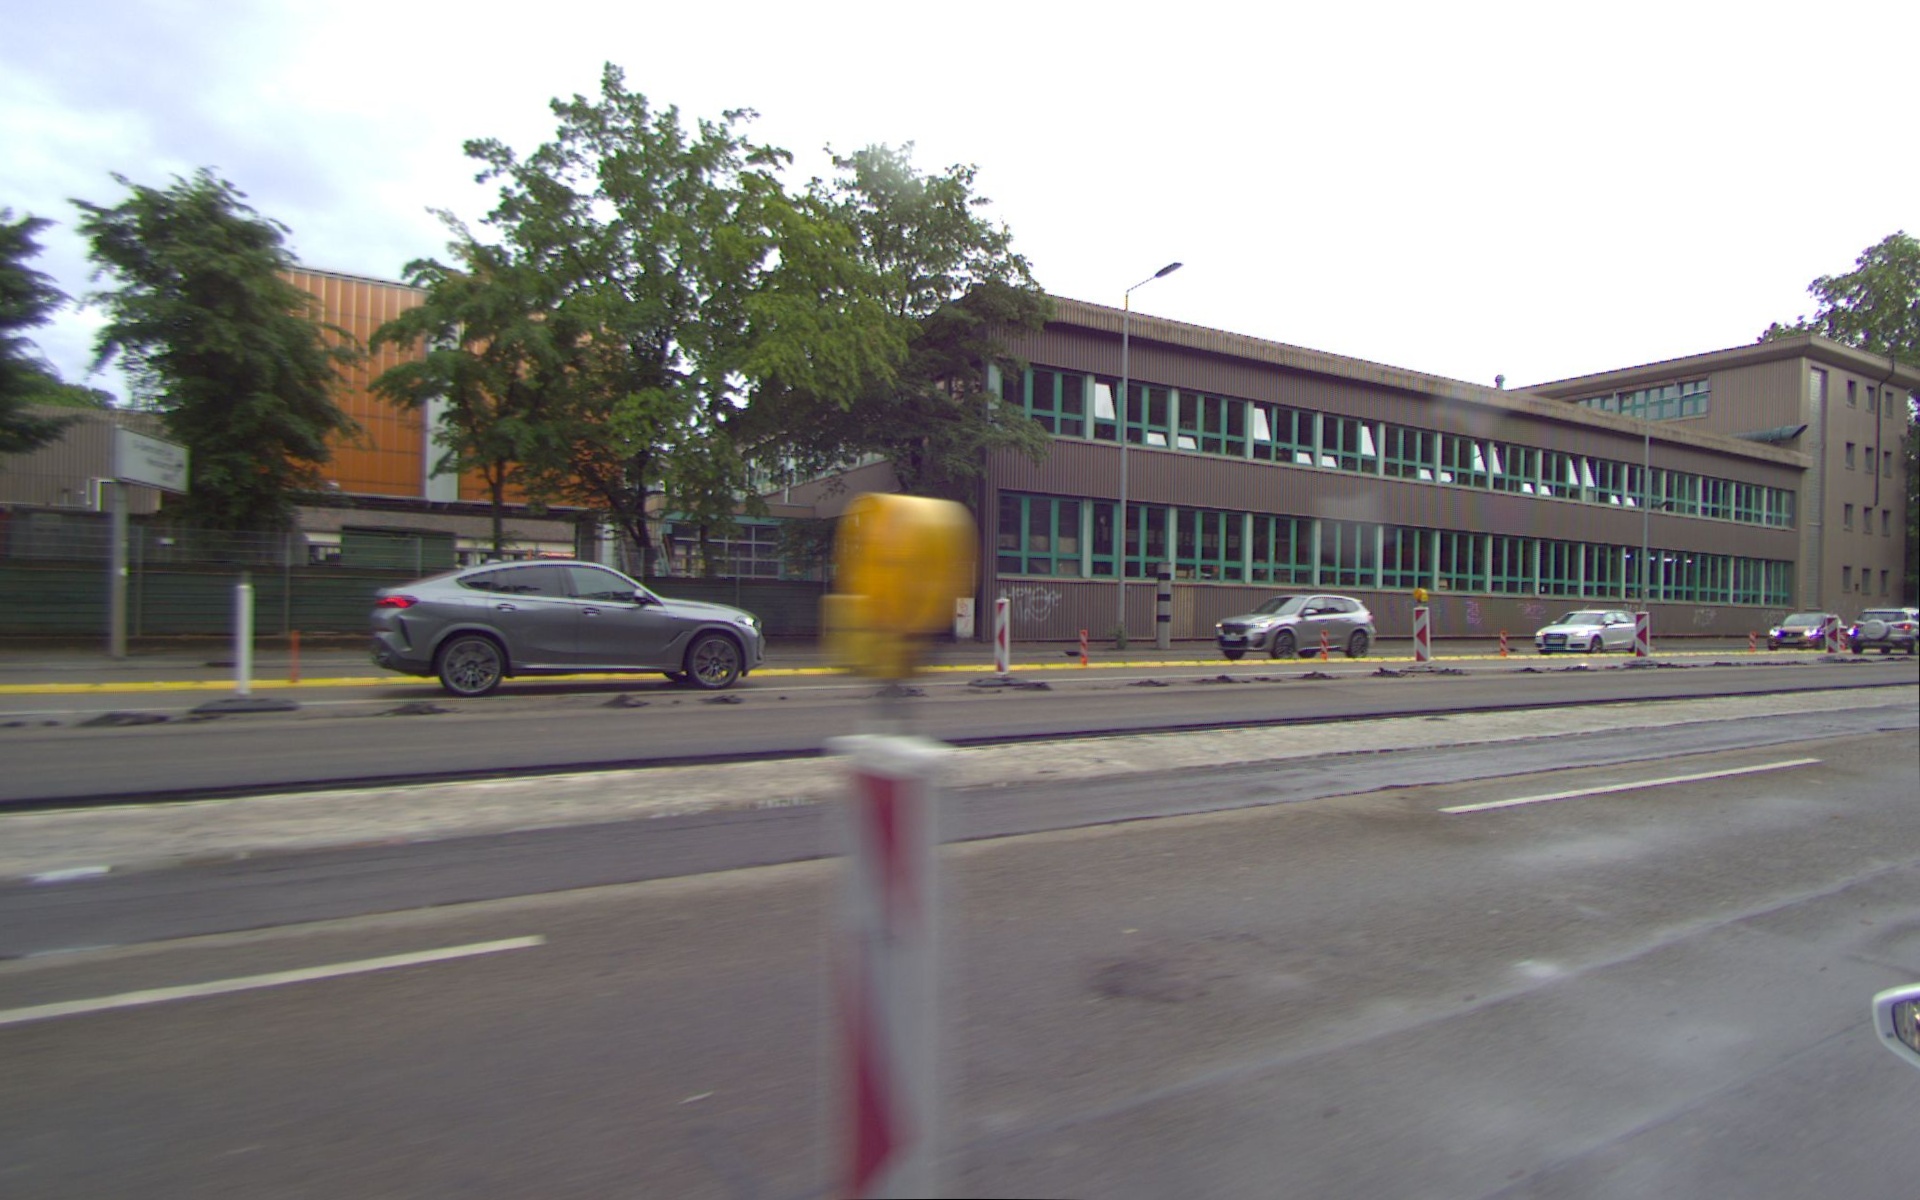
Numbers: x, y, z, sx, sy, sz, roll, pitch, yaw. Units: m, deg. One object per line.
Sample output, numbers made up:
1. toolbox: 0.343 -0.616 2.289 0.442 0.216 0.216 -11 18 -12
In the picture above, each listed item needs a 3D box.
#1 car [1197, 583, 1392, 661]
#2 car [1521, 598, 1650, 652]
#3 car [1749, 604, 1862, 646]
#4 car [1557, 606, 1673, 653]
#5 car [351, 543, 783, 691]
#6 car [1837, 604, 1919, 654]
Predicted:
1. car: 8.390 0.547 25.143 4.617 1.792 1.980 1 1 -29
2. car: 19.795 0.788 31.784 3.945 1.555 1.795 1 1 -30
3. car: 33.365 1.001 39.618 4.460 1.522 1.886 1 1 -28
4. car: 24.630 1.103 37.763 4.130 1.607 1.984 1 1 -30
5. car: -5.081 0.222 13.283 4.997 1.635 2.066 1 1 -31
6. car: 33.292 1.025 35.812 3.953 1.670 1.846 1 1 -30
